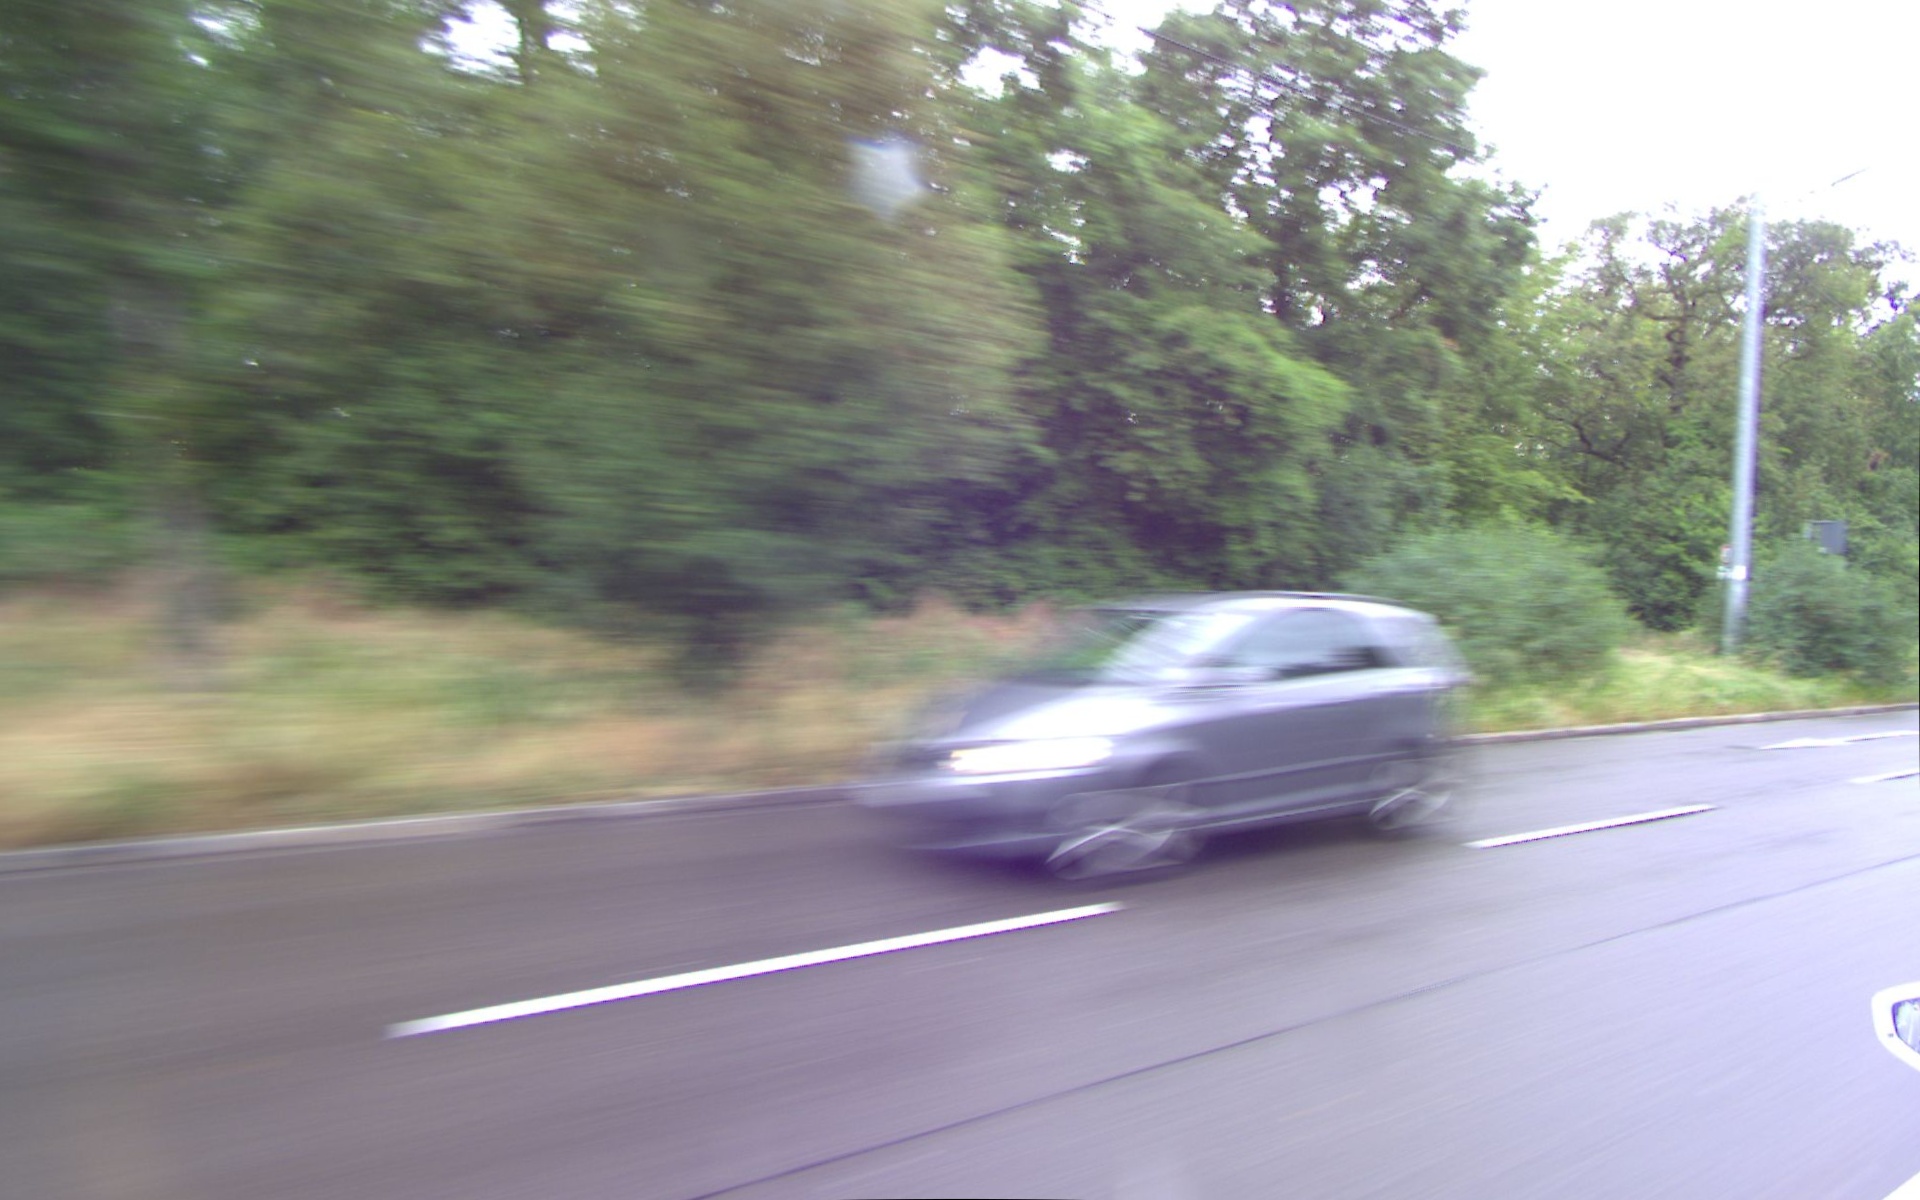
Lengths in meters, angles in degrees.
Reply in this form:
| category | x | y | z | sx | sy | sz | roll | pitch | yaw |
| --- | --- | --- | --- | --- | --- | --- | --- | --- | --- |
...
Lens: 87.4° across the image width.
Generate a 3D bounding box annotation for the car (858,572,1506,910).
| category | x | y | z | sx | sy | sz | roll | pitch | yaw |
| --- | --- | --- | --- | --- | --- | --- | --- | --- | --- |
| car | 1.547 | 0.709 | 6.641 | 4.036 | 1.632 | 1.763 | 2 | 1 | -30 |
